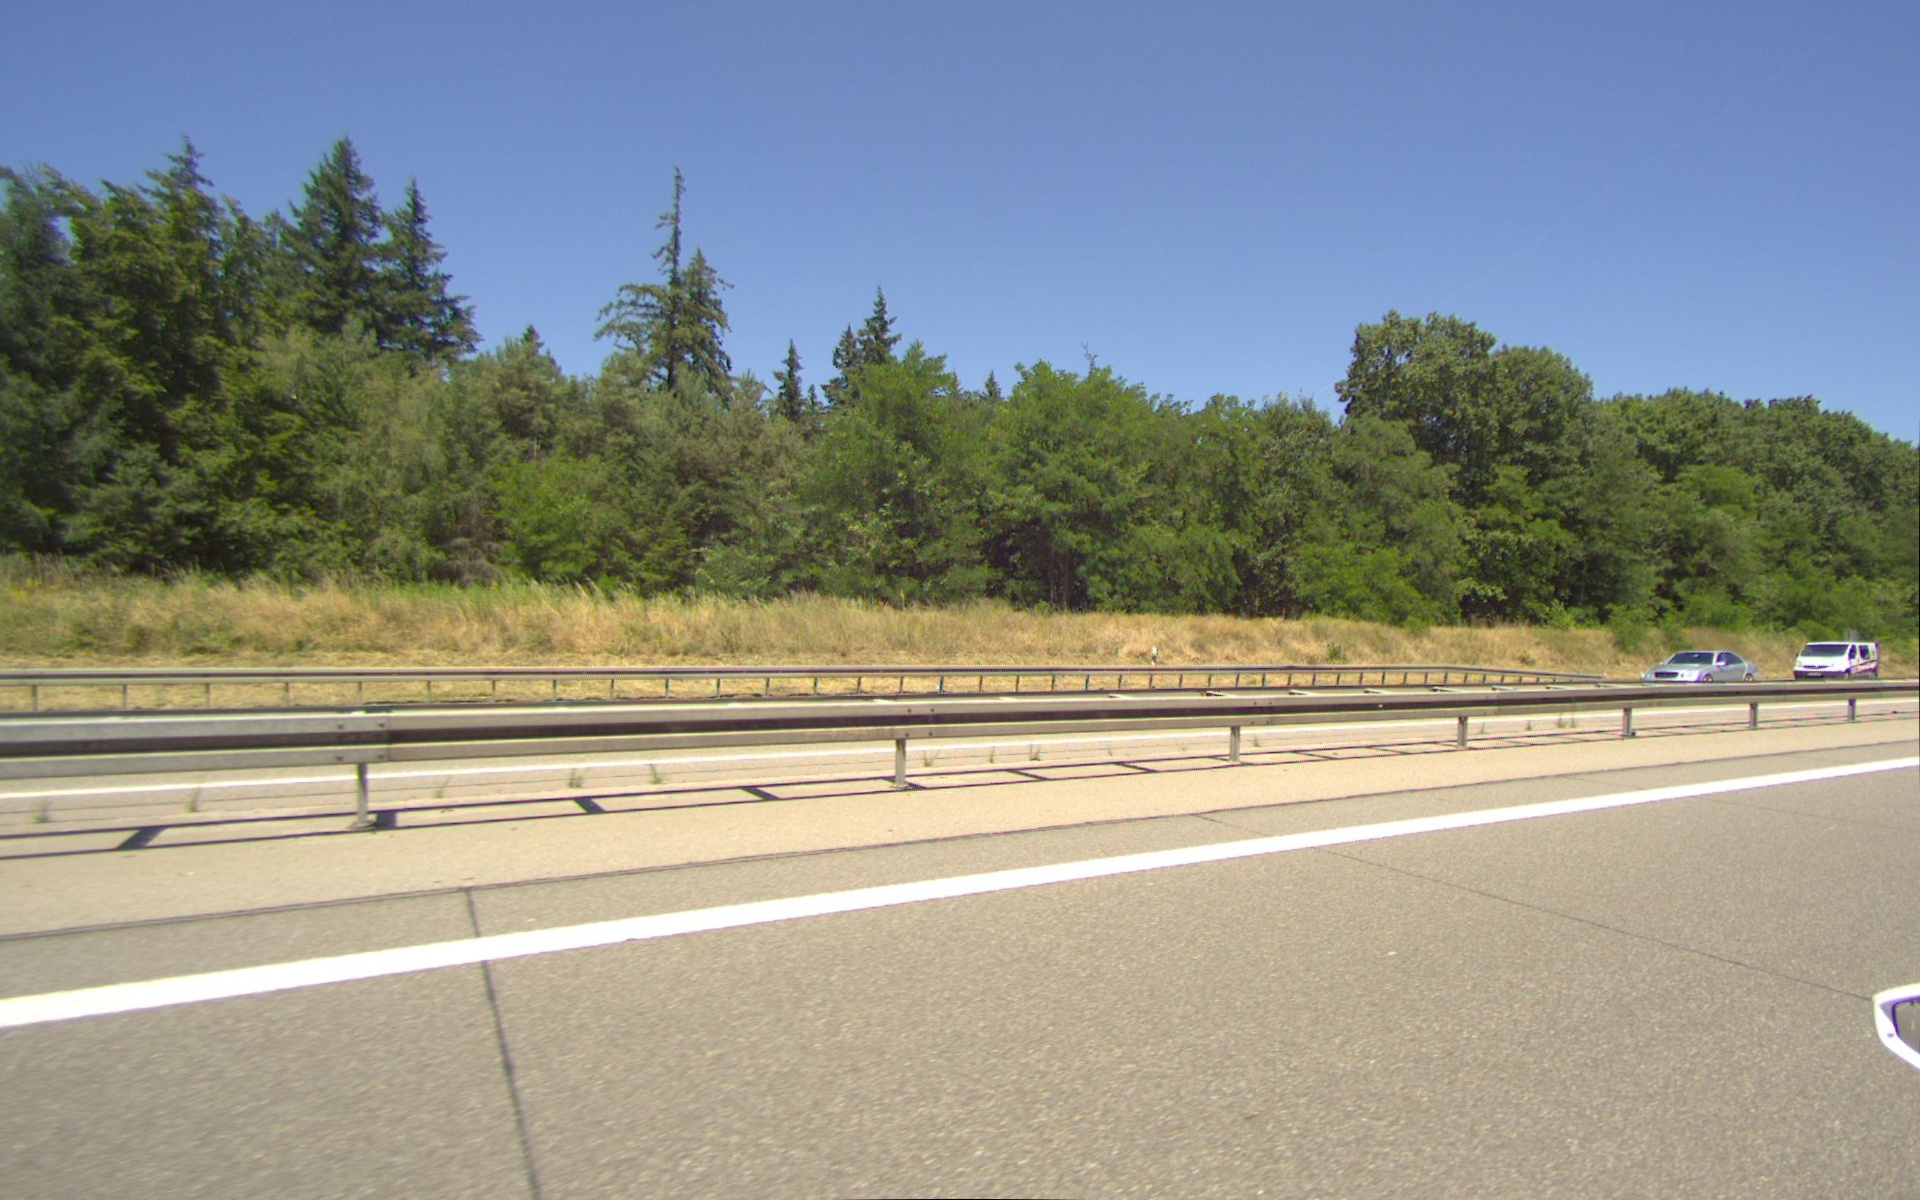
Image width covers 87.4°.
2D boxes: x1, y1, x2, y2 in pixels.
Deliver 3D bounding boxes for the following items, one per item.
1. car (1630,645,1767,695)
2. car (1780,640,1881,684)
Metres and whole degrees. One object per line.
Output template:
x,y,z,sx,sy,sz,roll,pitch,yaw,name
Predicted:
24.634,2.301,33.451,5.145,1.547,1.842,2,-3,-31,car
40.788,2.890,47.042,5.183,1.978,1.985,2,-4,-30,car
